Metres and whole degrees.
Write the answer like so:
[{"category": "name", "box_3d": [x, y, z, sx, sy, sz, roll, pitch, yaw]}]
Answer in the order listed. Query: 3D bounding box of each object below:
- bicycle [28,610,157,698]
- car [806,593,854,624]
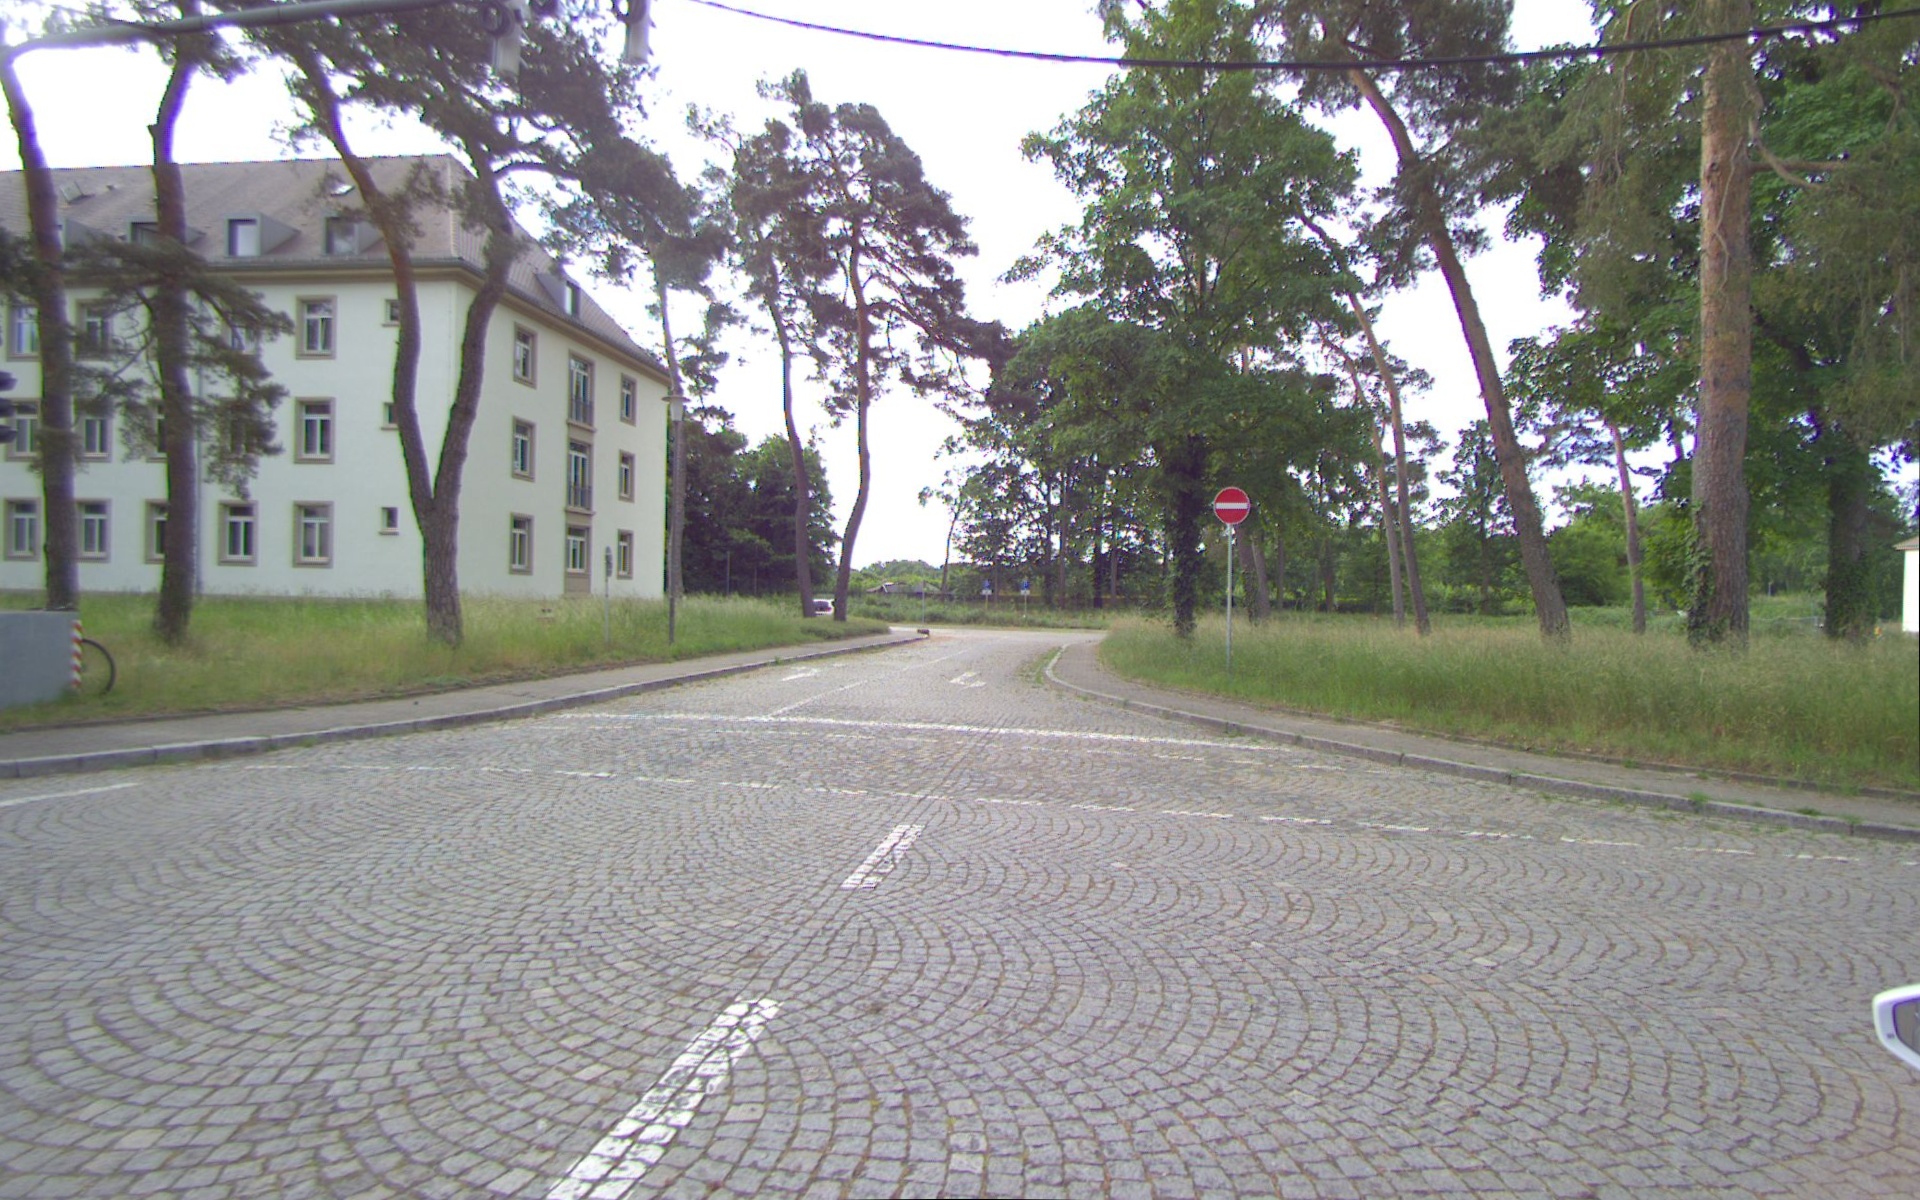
[{"category": "bicycle", "box_3d": [-9.449, 0.590, 10.958, 1.036, 0.928, 0.292, 1, 0, -14]}, {"category": "car", "box_3d": [-7.911, 0.523, 61.520, 1.687, 1.831, 4.002, 1, 0, 11]}]
